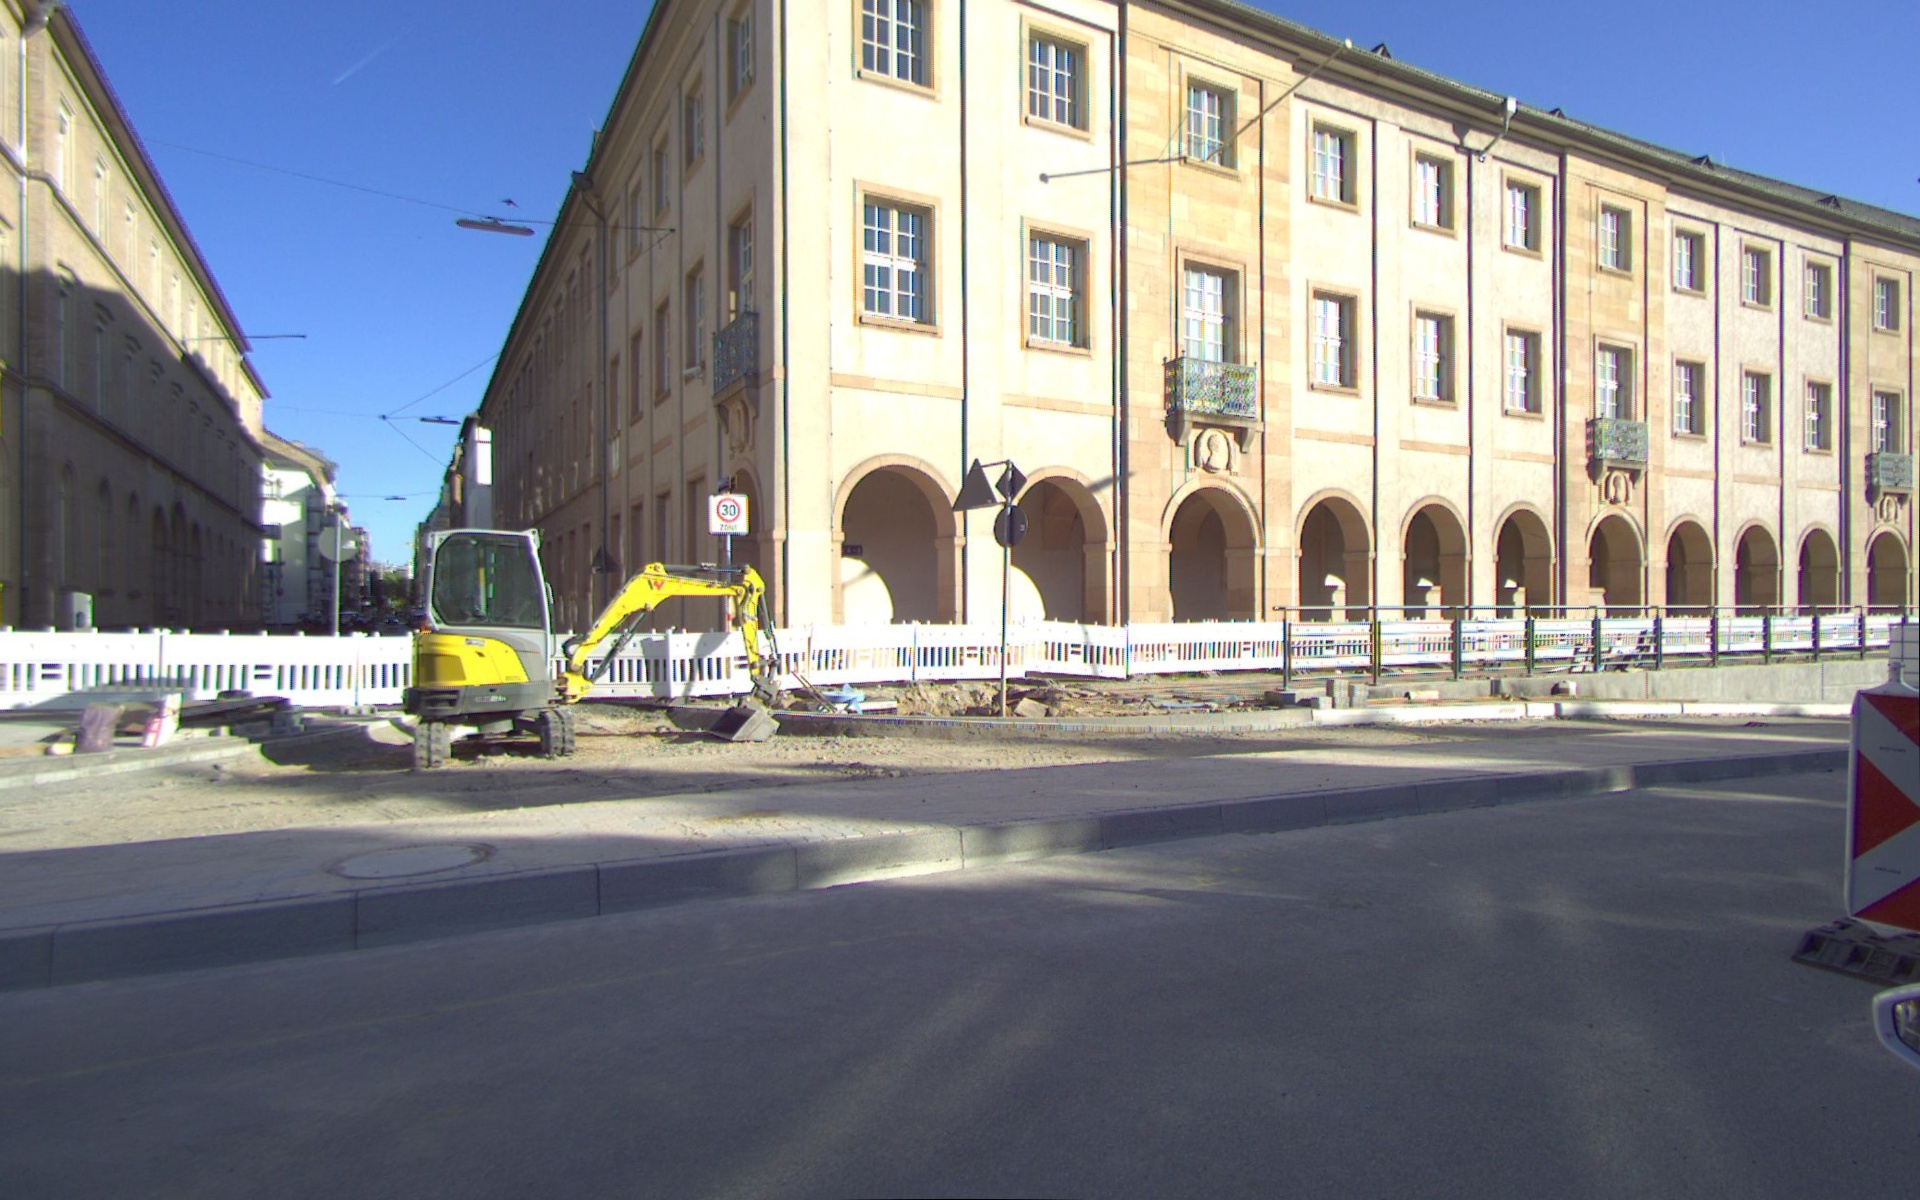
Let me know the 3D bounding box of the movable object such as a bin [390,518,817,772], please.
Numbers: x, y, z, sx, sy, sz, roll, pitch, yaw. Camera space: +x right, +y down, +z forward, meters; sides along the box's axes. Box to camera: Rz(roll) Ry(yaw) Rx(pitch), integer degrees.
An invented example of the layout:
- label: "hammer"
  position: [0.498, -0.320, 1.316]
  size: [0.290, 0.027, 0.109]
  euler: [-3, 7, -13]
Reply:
- label: "movable object such as a bin"
  position: [-4.006, 0.511, 11.528]
  size: [4.253, 2.426, 2.092]
  euler: [1, -3, -27]
